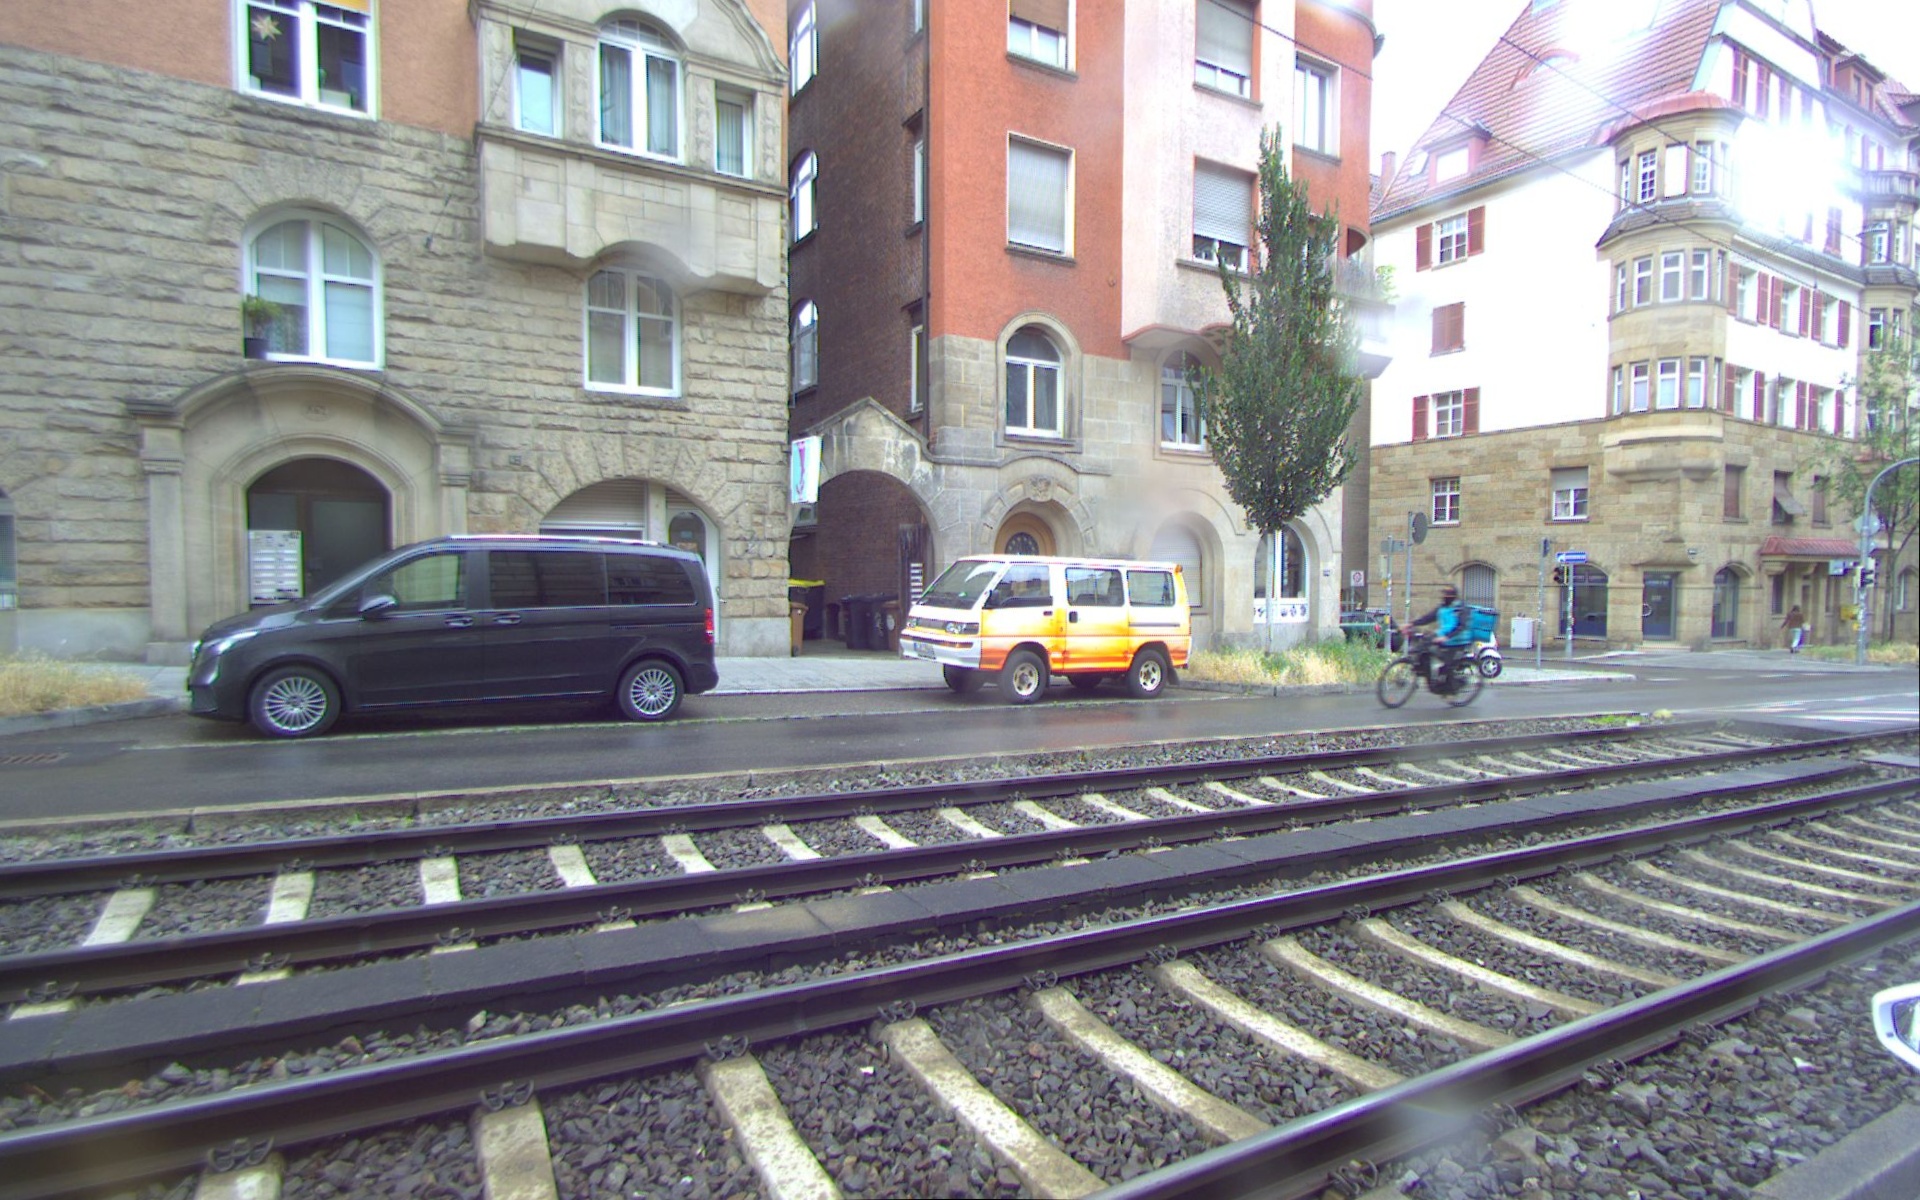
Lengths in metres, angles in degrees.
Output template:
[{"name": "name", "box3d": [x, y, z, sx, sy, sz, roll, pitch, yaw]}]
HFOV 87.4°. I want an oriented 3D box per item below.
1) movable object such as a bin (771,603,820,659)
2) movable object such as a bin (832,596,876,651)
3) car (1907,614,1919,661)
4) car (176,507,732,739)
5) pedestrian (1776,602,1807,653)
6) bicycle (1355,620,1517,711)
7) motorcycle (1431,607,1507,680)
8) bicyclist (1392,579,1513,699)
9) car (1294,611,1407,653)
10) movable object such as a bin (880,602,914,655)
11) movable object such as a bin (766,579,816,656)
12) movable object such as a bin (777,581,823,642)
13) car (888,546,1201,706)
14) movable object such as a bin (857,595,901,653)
[{"name": "movable object such as a bin", "box3d": [-2.892, 0.534, 17.580, 0.627, 0.918, 0.793, 1, 1, -27]}, {"name": "movable object such as a bin", "box3d": [-2.084, 0.458, 19.675, 0.607, 1.052, 0.793, 1, -1, -27]}, {"name": "car", "box3d": [34.167, 1.334, 34.346, 3.994, 1.573, 1.742, 2, 0, -34]}, {"name": "car", "box3d": [-5.050, 0.258, 10.584, 4.769, 1.968, 1.984, 2, 0, -30]}, {"name": "pedestrian", "box3d": [28.171, 0.914, 34.019, 0.696, 1.695, 0.626, 2, 0, -36]}, {"name": "bicycle", "box3d": [6.674, 0.919, 14.111, 2.004, 1.202, 0.823, 2, 0, -16]}, {"name": "motorcycle", "box3d": [10.105, 0.837, 19.991, 0.612, 1.384, 1.596, 2, 0, -3]}, {"name": "bicyclist", "box3d": [6.936, 0.545, 14.184, 1.233, 1.618, 0.884, 2, 0, -17]}, {"name": "car", "box3d": [14.459, 1.172, 37.334, 1.683, 1.423, 3.618, 2, 0, -34]}, {"name": "movable object such as a bin", "box3d": [-1.173, 0.527, 18.621, 0.442, 0.957, 0.557, 1, -1, -27]}, {"name": "movable object such as a bin", "box3d": [-3.107, 0.313, 18.453, 0.648, 1.360, 0.903, 1, 1, -27]}, {"name": "movable object such as a bin", "box3d": [-3.611, 0.254, 22.646, 0.676, 1.324, 1.154, 1, 1, -26]}, {"name": "car", "box3d": [1.276, 0.383, 14.429, 4.295, 2.001, 1.721, 2, 0, -32]}, {"name": "movable object such as a bin", "box3d": [-1.546, 0.452, 19.129, 0.607, 1.090, 0.679, 1, -1, -27]}]
